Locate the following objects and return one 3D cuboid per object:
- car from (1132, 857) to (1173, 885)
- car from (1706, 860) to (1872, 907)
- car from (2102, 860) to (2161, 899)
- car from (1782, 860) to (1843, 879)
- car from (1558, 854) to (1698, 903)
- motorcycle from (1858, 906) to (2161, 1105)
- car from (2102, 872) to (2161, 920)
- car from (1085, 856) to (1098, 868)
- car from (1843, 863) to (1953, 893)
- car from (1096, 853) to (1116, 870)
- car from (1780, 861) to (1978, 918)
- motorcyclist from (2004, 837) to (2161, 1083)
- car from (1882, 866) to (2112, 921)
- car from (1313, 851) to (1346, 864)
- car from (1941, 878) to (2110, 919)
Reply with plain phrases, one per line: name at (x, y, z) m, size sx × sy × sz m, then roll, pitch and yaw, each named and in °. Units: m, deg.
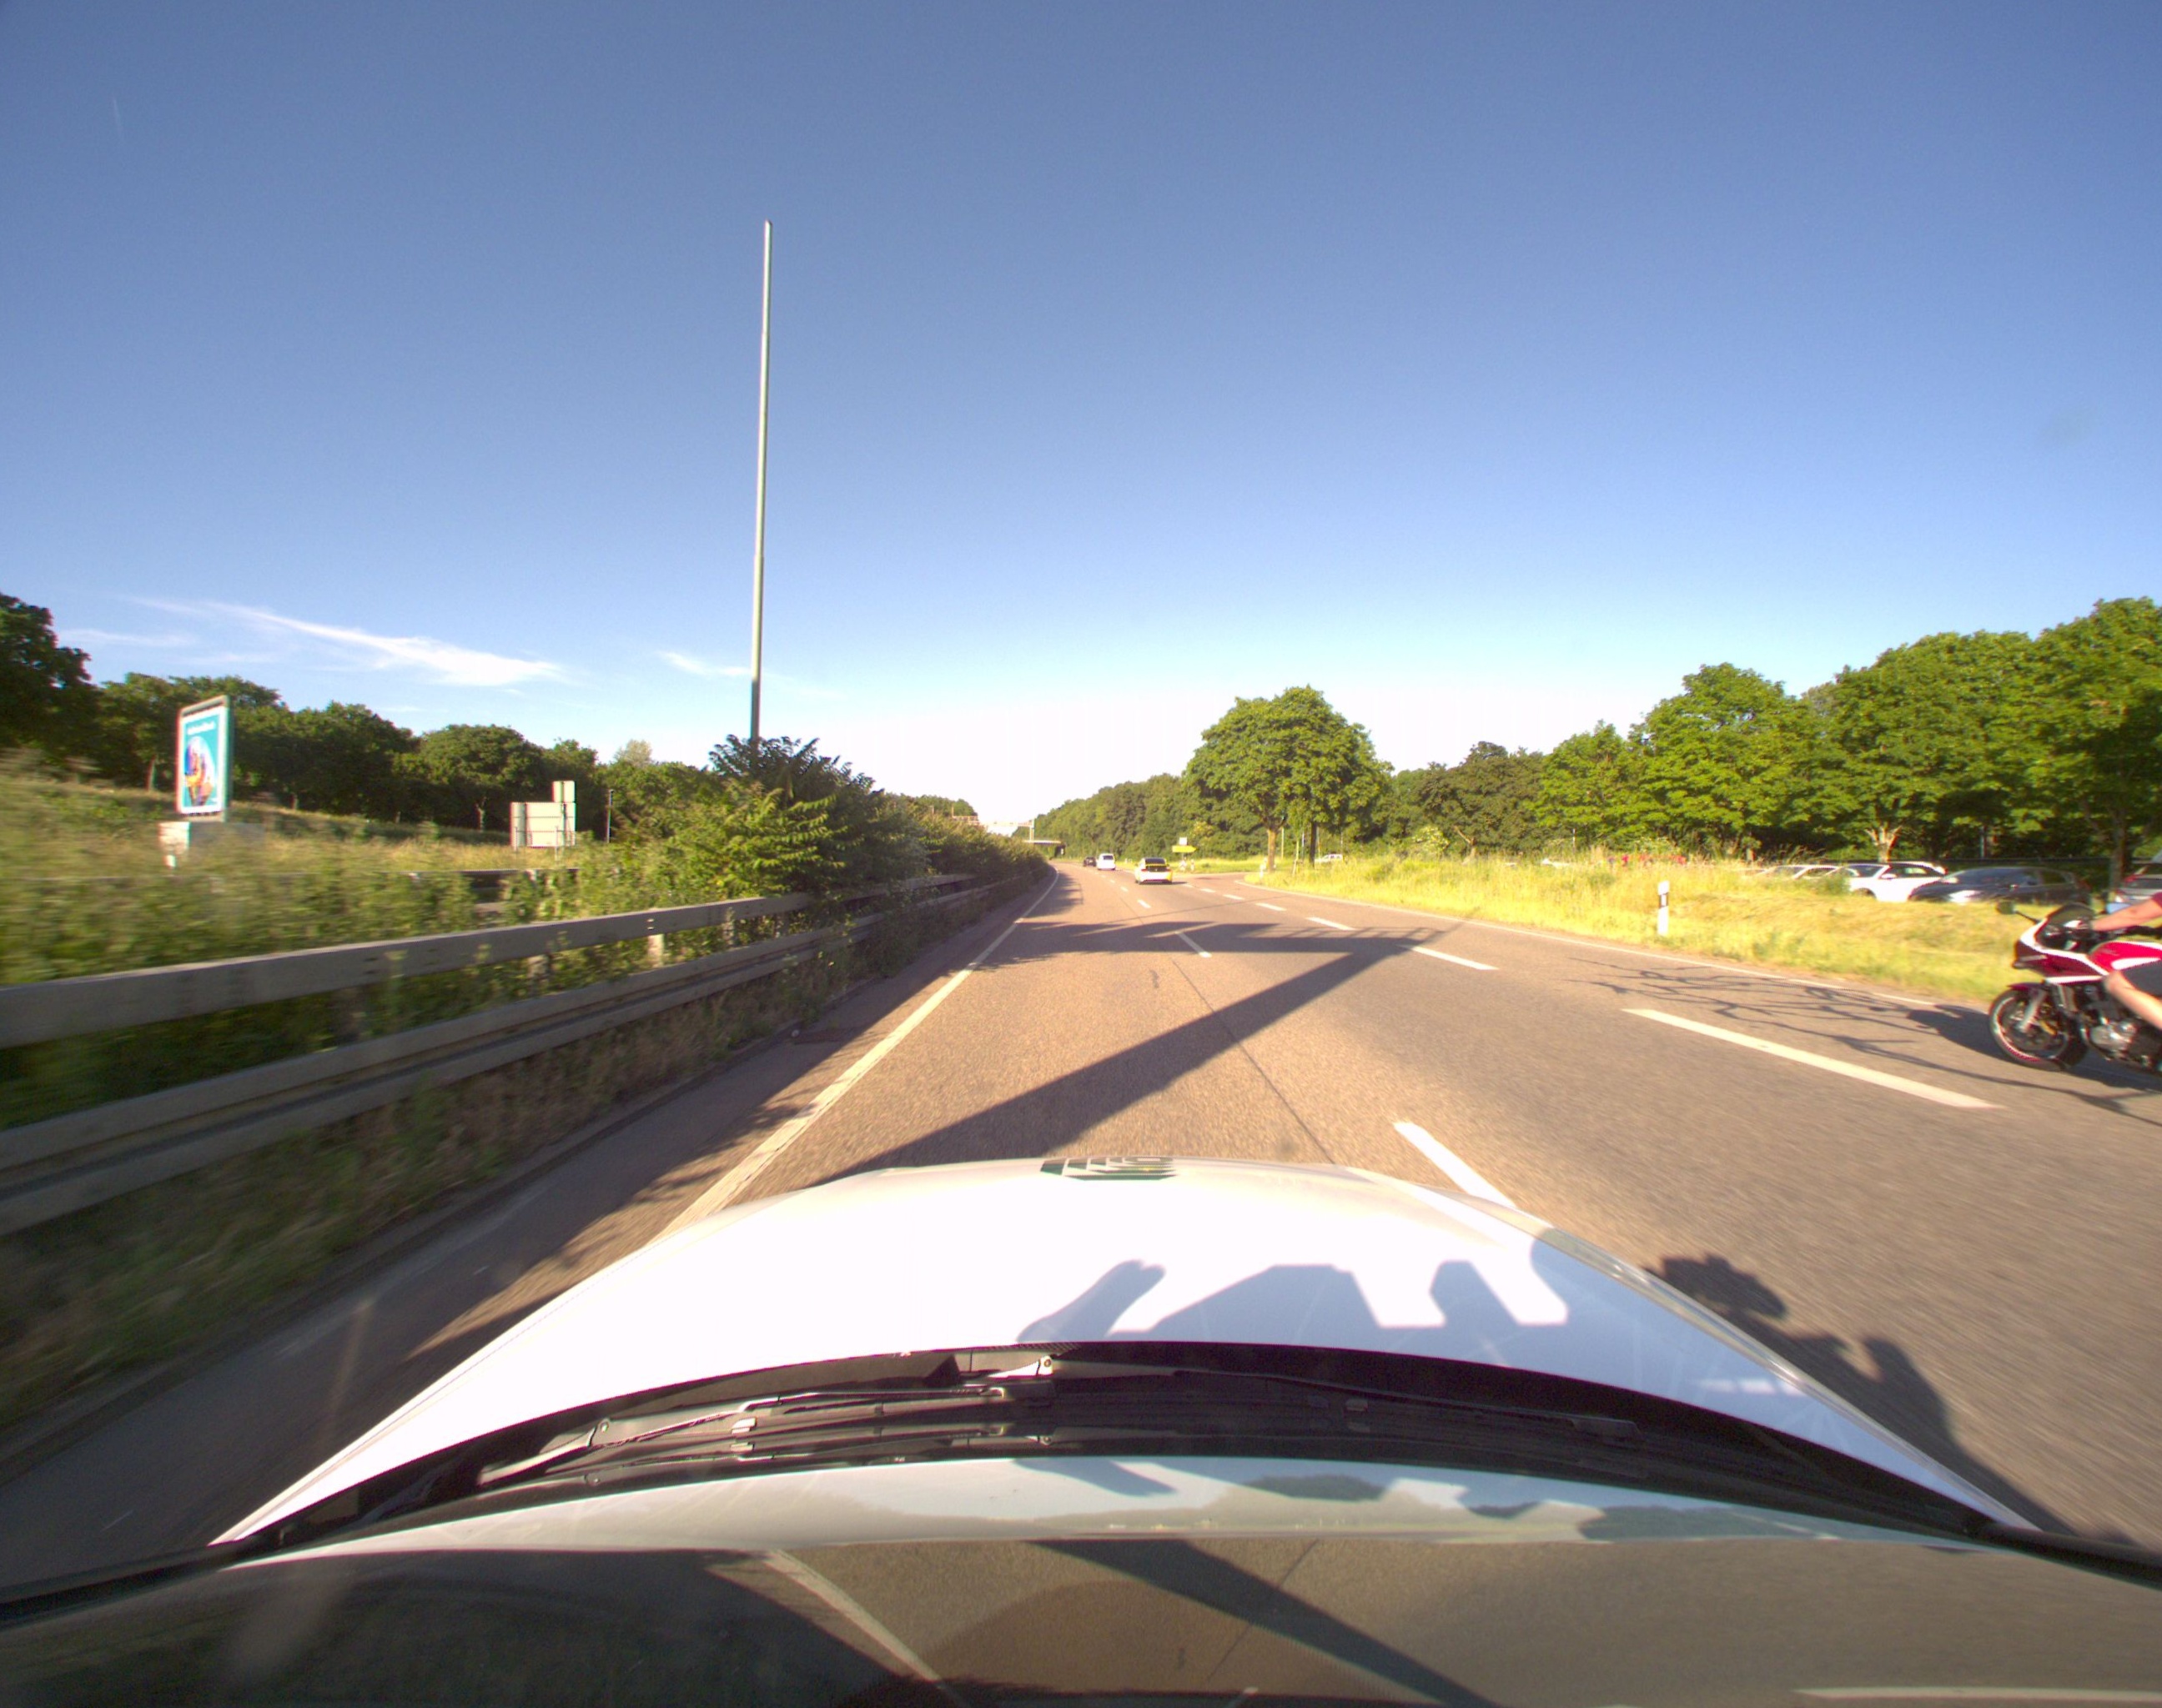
car at (3.931, 0.935, 45.131) m, size 1.891 × 1.471 × 3.999 m, roll 0°, pitch 0°, yaw 0°
car at (23.359, 0.995, 26.958) m, size 3.923 × 1.460 × 1.921 m, roll 1°, pitch -3°, yaw -4°
car at (52.045, 1.204, 38.958) m, size 4.581 × 1.776 × 1.941 m, roll 0°, pitch -2°, yaw -8°
car at (64.499, 1.359, 71.874) m, size 3.950 × 1.576 × 1.921 m, roll 0°, pitch 0°, yaw 43°
car at (23.544, 1.087, 35.177) m, size 4.779 × 2.024 × 2.023 m, roll 1°, pitch -4°, yaw -4°
motorcycle at (6.778, 0.948, 5.290) m, size 0.813 × 1.069 × 2.836 m, roll 0°, pitch -1°, yaw 1°
car at (34.178, 1.294, 24.751) m, size 4.102 × 1.424 × 1.921 m, roll 1°, pitch -3°, yaw -4°
car at (1.551, 1.139, 119.757) m, size 1.891 × 1.767 × 3.999 m, roll 0°, pitch 0°, yaw 0°
car at (51.996, 1.492, 51.859) m, size 5.177 × 1.866 × 1.955 m, roll 0°, pitch -1°, yaw -2°
car at (2.644, 0.825, 87.874) m, size 1.893 × 1.767 × 3.995 m, roll 0°, pitch -1°, yaw -3°
car at (23.524, 1.075, 24.107) m, size 4.102 × 1.559 × 1.921 m, roll 1°, pitch -4°, yaw -4°
motorcyclist at (6.779, 0.628, 5.079) m, size 0.813 × 1.447 × 1.094 m, roll 0°, pitch -1°, yaw 3°
car at (23.710, 1.035, 21.197) m, size 3.979 × 1.307 × 1.921 m, roll 1°, pitch -3°, yaw -4°
car at (35.327, 0.475, 115.786) m, size 3.949 × 1.824 × 1.915 m, roll -1°, pitch -1°, yaw 43°
car at (35.116, 1.659, 30.357) m, size 4.102 × 1.424 × 2.020 m, roll 1°, pitch -3°, yaw -4°
